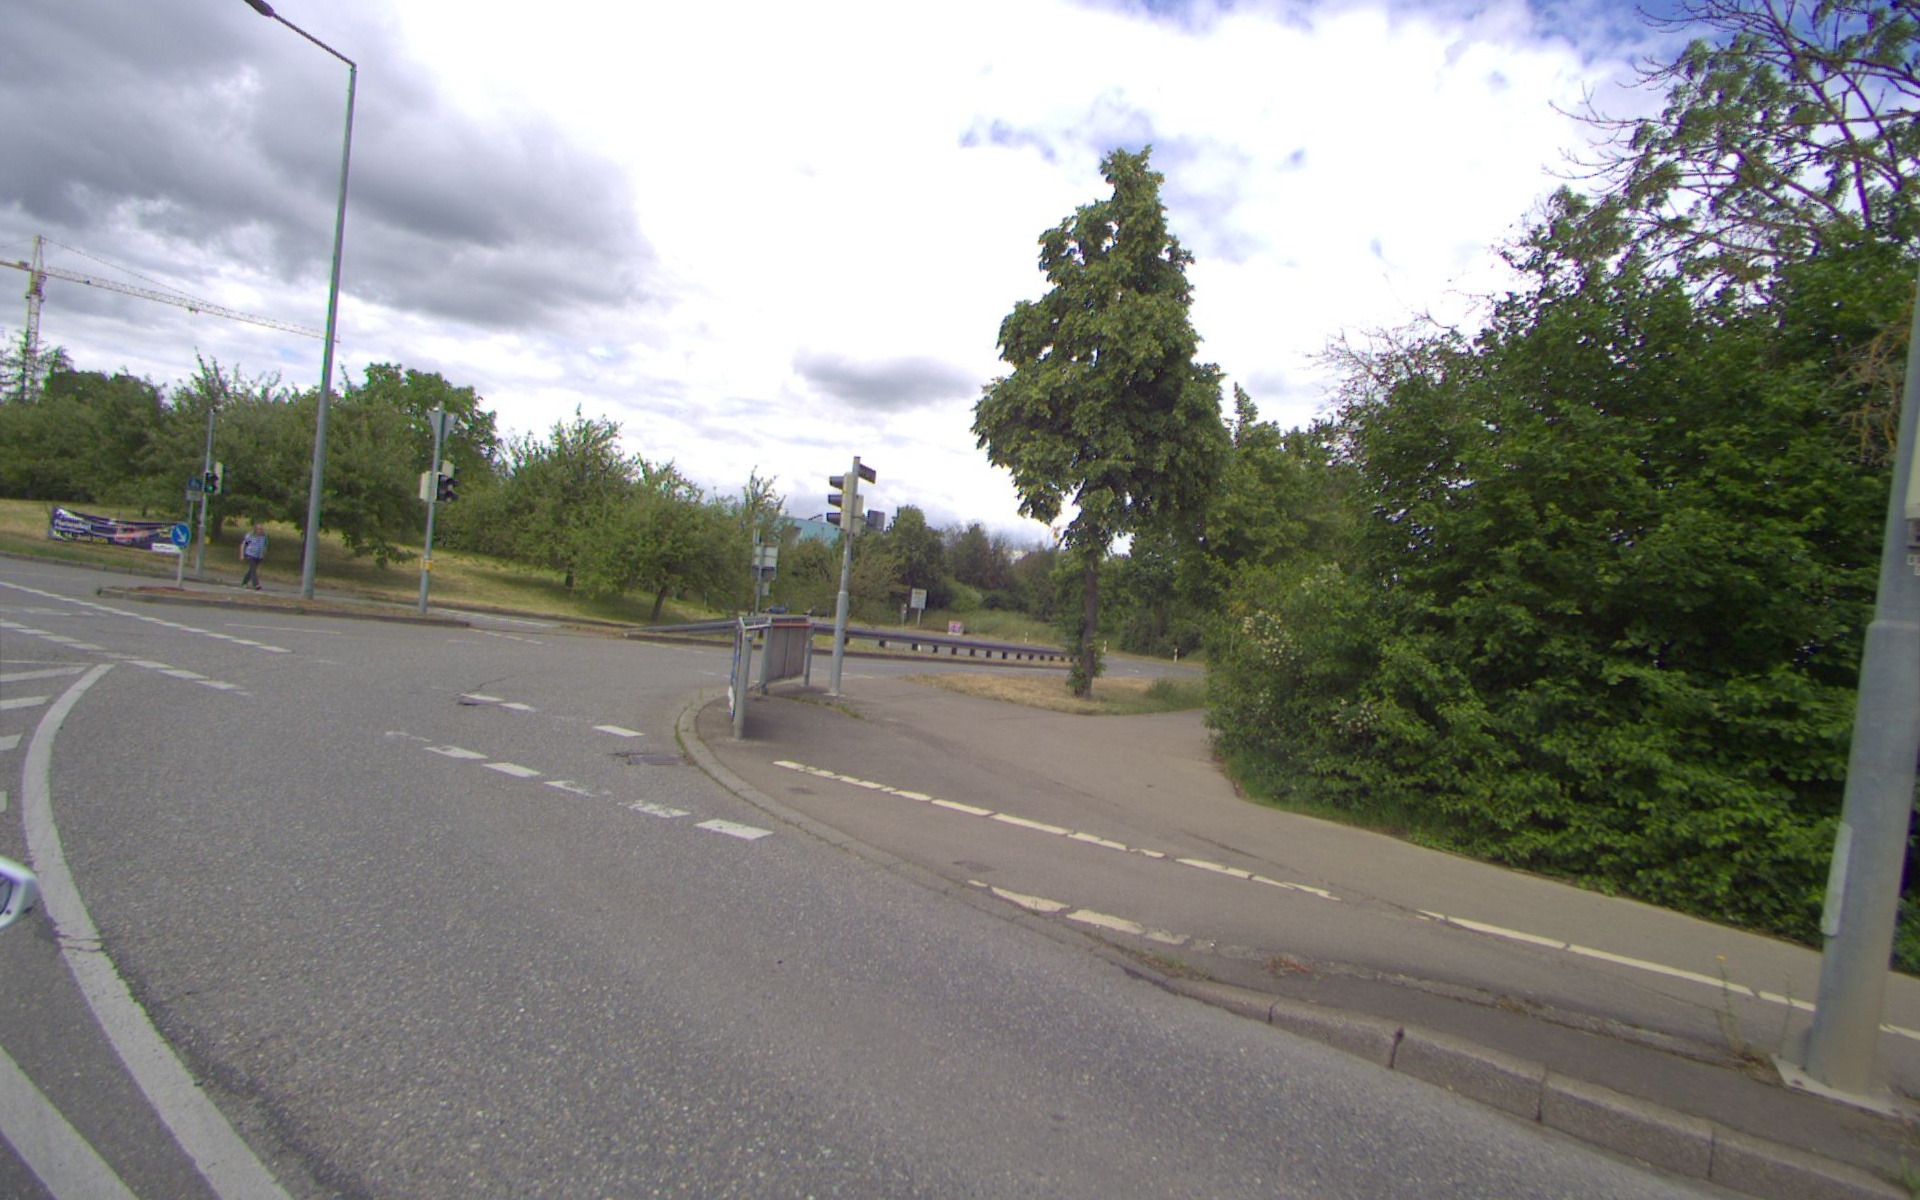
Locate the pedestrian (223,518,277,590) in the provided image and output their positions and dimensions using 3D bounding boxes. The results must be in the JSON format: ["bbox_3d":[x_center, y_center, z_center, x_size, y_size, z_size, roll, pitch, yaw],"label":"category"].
[{"bbox_3d":[-19.226,-1.251,27.255,1.027,1.814,0.719,6,-1,35],"label":"pedestrian"}]
